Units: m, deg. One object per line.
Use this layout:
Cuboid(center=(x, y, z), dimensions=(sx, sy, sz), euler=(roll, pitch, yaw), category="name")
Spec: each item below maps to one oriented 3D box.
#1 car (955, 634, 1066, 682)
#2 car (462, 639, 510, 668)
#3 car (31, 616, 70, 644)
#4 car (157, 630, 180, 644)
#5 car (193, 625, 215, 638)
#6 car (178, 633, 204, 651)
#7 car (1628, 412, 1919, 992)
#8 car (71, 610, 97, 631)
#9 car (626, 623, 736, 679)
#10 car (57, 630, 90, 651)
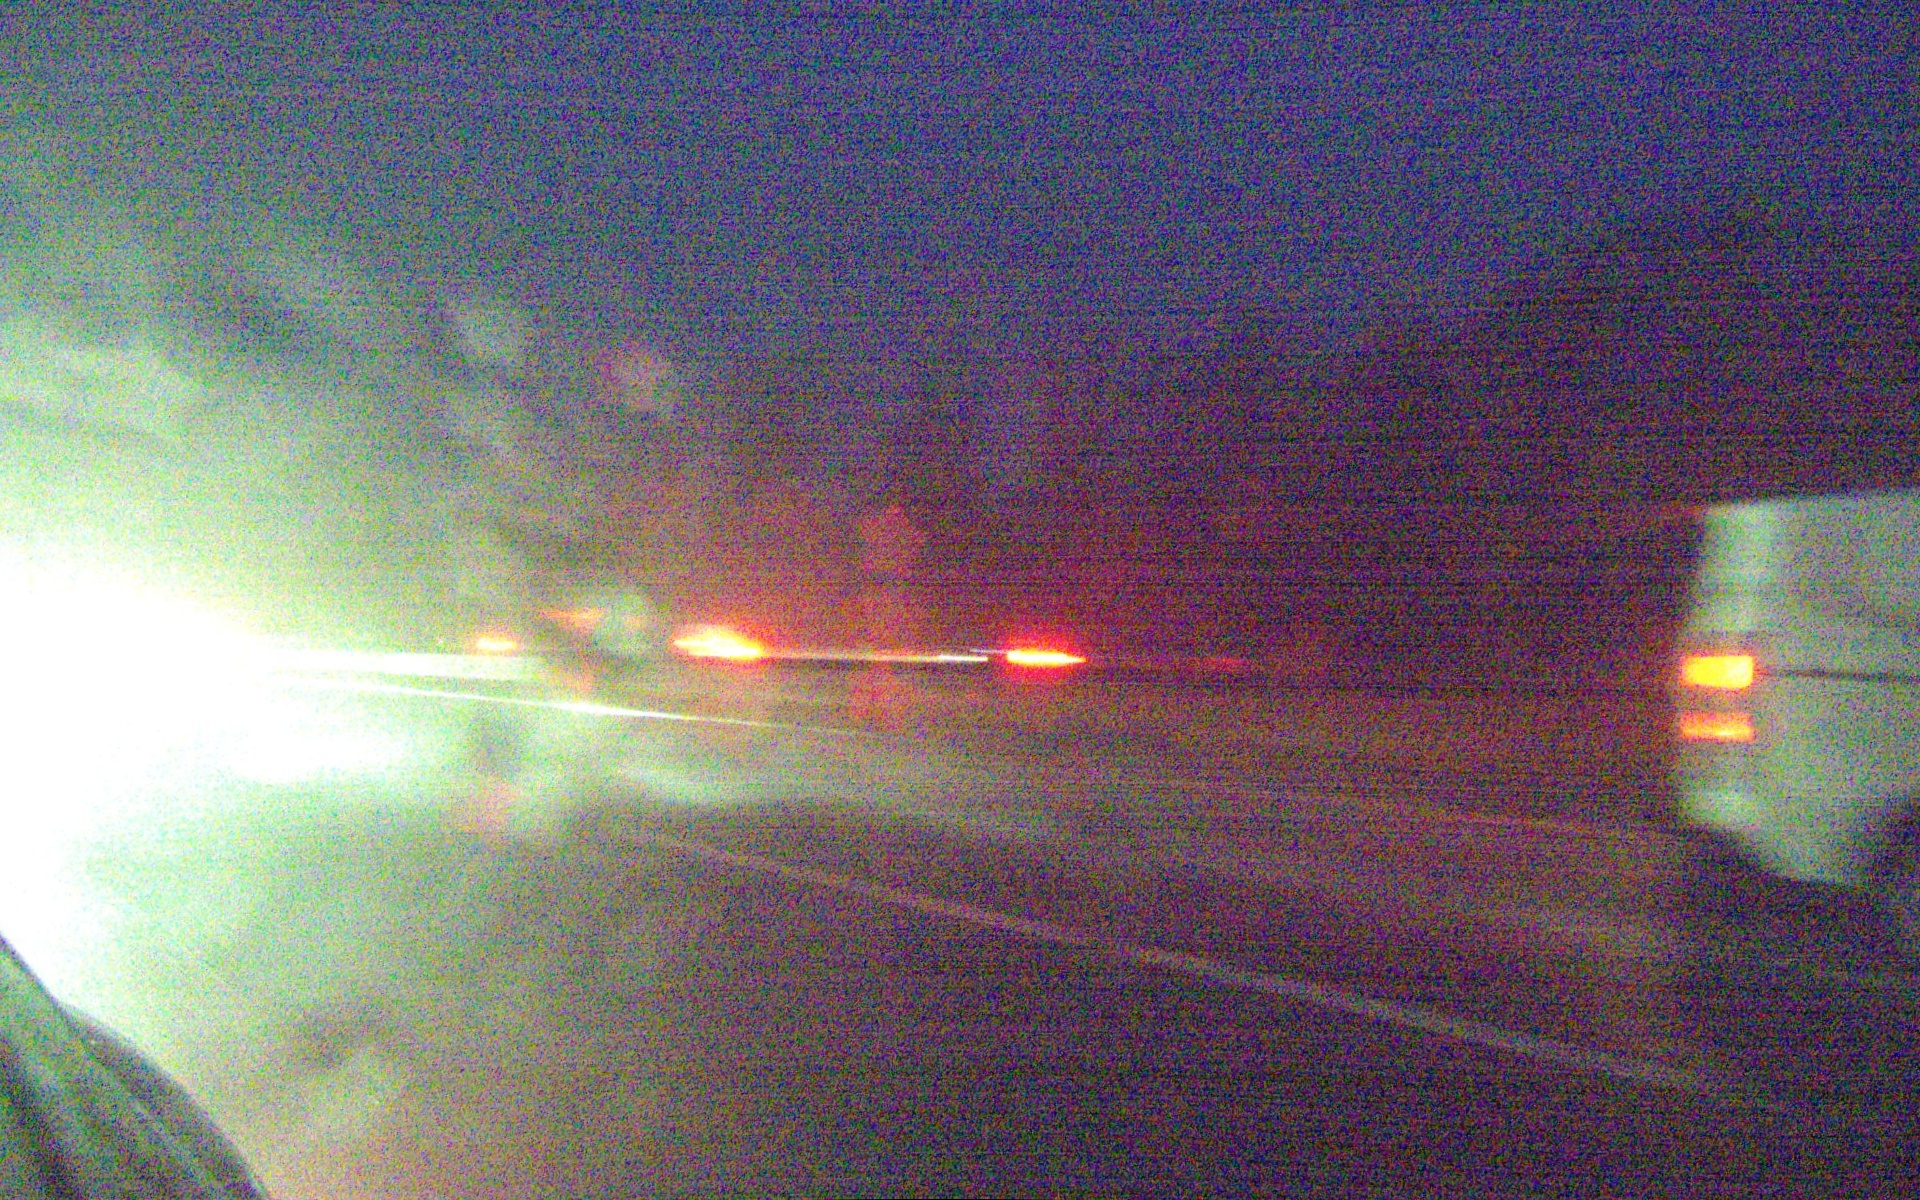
Cuboid(center=(1.781, 2.038, 36.309), dimensions=(3.765, 1.514, 1.666), euler=(0, 0, 41), category="car")
Cuboid(center=(-30.764, 3.448, 65.656), dimensions=(3.411, 1.705, 1.620), euler=(0, 0, 41), category="car")
Cuboid(center=(-107.087, 3.488, 119.160), dimensions=(6.319, 3.229, 2.679), euler=(0, 0, 41), category="car")
Cuboid(center=(-108.201, 5.039, 138.392), dimensions=(3.998, 1.702, 1.794), euler=(0, 0, 41), category="car")
Cuboid(center=(-114.862, 4.742, 153.808), dimensions=(4.172, 1.802, 1.870), euler=(0, 0, 41), category="car")
Cuboid(center=(-93.070, 5.090, 122.467), dimensions=(3.998, 1.962, 1.799), euler=(0, 0, 41), category="car")
Cuboid(center=(5.650, 0.346, 3.268), dimensions=(5.624, 2.120, 2.102), euler=(-1, -1, 40), category="car")
Cuboid(center=(-124.774, 2.880, 144.164), dimensions=(4.717, 2.915, 2.132), euler=(0, 0, 41), category="car")
Cuboid(center=(-10.531, 1.849, 38.095), dimensions=(4.137, 1.920, 1.890), euler=(0, 0, 37), category="car")
Cuboid(center=(-78.552, 3.571, 89.695), dimensions=(3.998, 1.789, 1.722), euler=(0, 0, 41), category="car")
